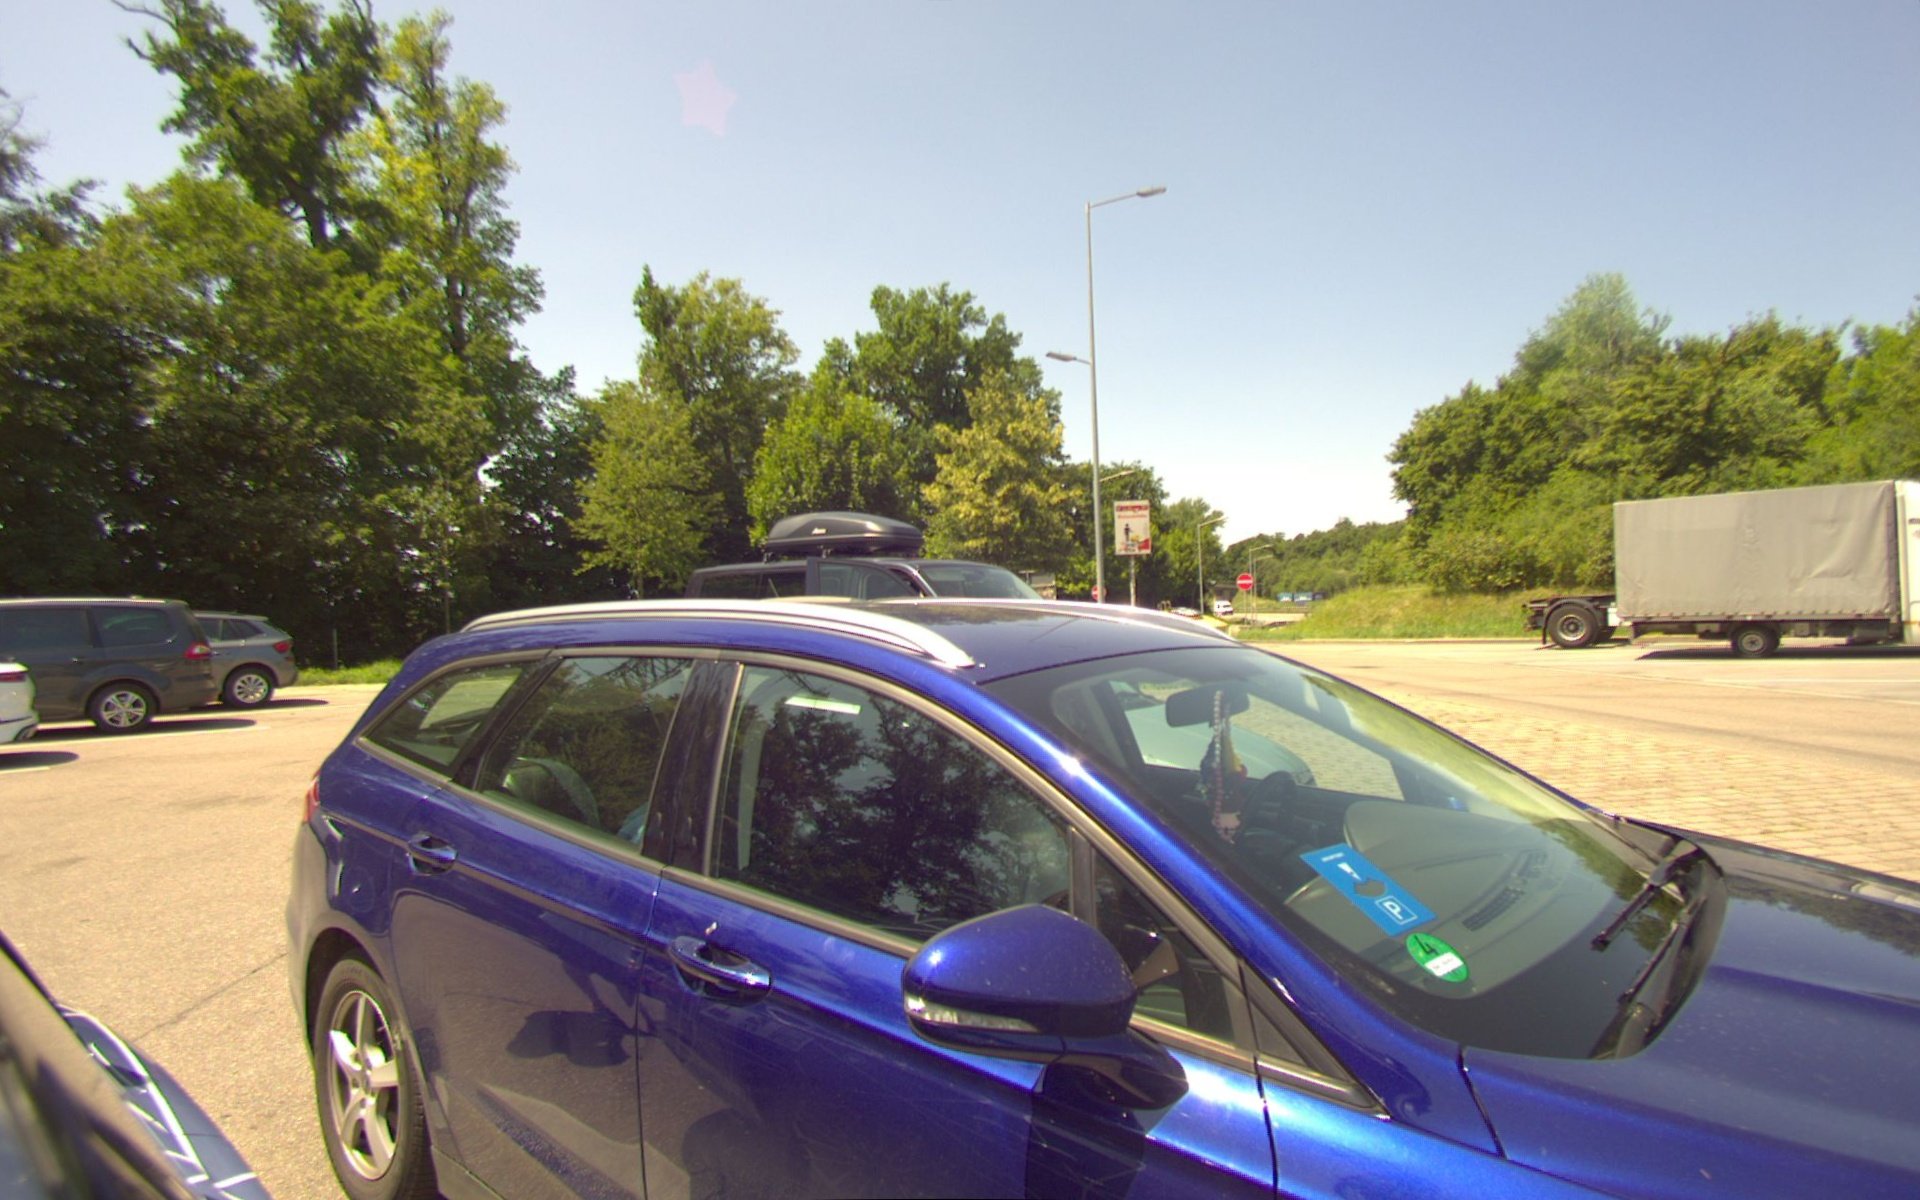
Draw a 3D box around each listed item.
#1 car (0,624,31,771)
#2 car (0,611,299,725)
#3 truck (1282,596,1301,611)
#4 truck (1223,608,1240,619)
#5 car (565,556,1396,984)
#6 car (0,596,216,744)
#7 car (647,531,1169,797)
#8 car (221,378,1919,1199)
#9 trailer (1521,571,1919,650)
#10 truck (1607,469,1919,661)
[{"bbox_3d":[-10.983,0.945,9.165,3.767,1.396,1.722,0,-1,-43],"label":"car"},{"bbox_3d":[-12.580,0.967,15.710,3.762,1.551,1.724,0,-1,-38],"label":"car"},{"bbox_3d":[69.957,0.698,213.594,1.974,3.110,7.521,-1,0,3],"label":"truck"},{"bbox_3d":[51.888,2.584,193.203,1.972,2.029,4.519,-2,-1,0],"label":"truck"},{"bbox_3d":[-0.204,0.673,5.790,4.637,1.545,1.720,-3,0,39],"label":"car"},{"bbox_3d":[-11.642,0.834,12.629,3.762,1.737,1.724,0,-1,-38],"label":"car"},{"bbox_3d":[-0.647,0.510,9.363,4.635,1.884,1.937,-3,0,37],"label":"car"},{"bbox_3d":[0.258,0.636,2.078,4.637,1.493,1.720,-3,-1,39],"label":"car"},{"bbox_3d":[17.650,0.281,23.155,8.088,1.385,2.200,-4,-1,41],"label":"trailer"},{"bbox_3d":[16.720,-0.628,18.933,7.337,3.235,2.502,-4,-1,41],"label":"truck"}]
